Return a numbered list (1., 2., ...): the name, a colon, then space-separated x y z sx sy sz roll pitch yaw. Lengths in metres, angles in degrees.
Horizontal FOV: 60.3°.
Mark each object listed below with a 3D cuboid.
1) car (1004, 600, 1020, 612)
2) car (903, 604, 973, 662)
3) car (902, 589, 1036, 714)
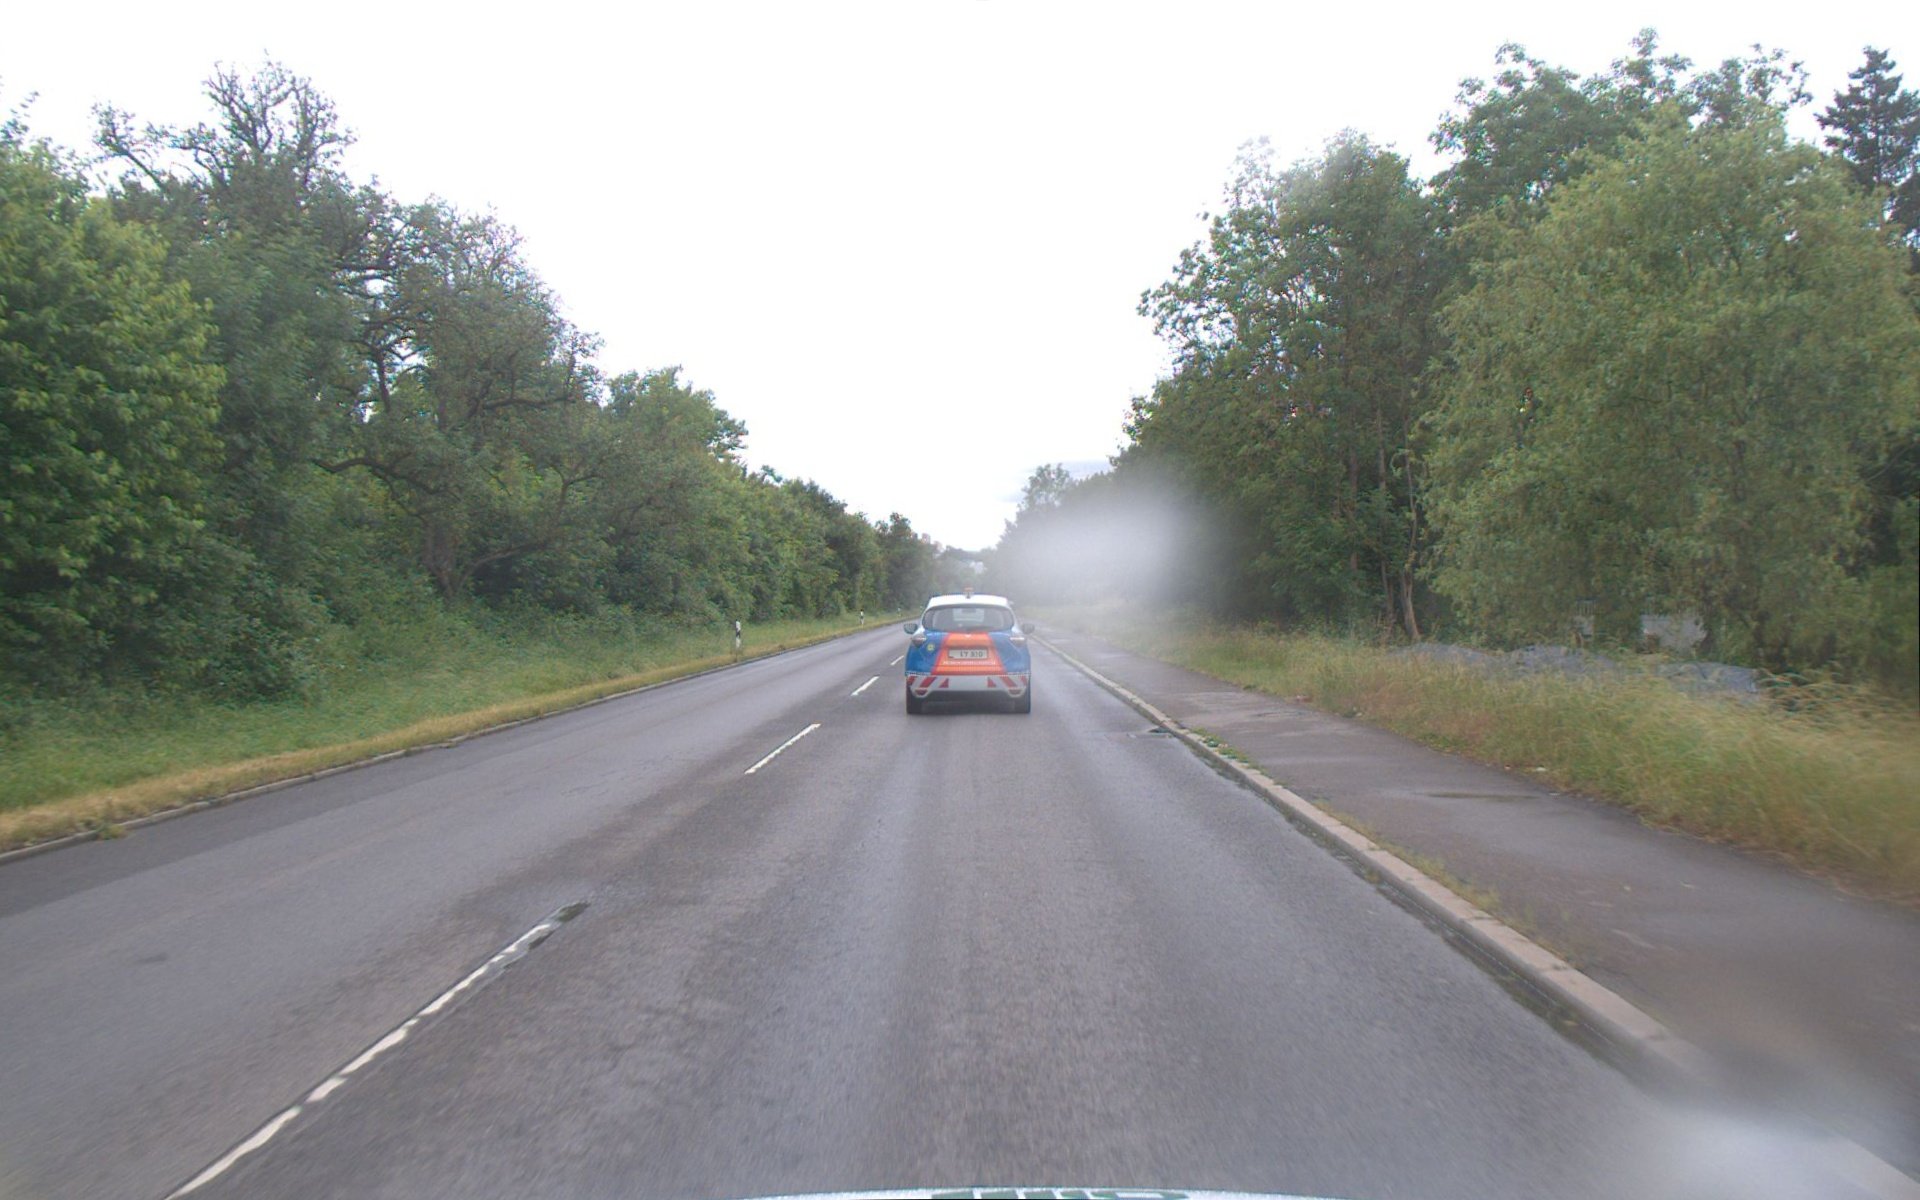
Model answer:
1. car: 6.433 0.741 205.171 1.952 1.400 4.001 -2 0 1
2. car: -0.509 0.791 40.740 1.565 1.309 3.476 -2 0 1
3. car: 0.134 0.646 23.235 1.716 1.583 3.793 0 1 0
